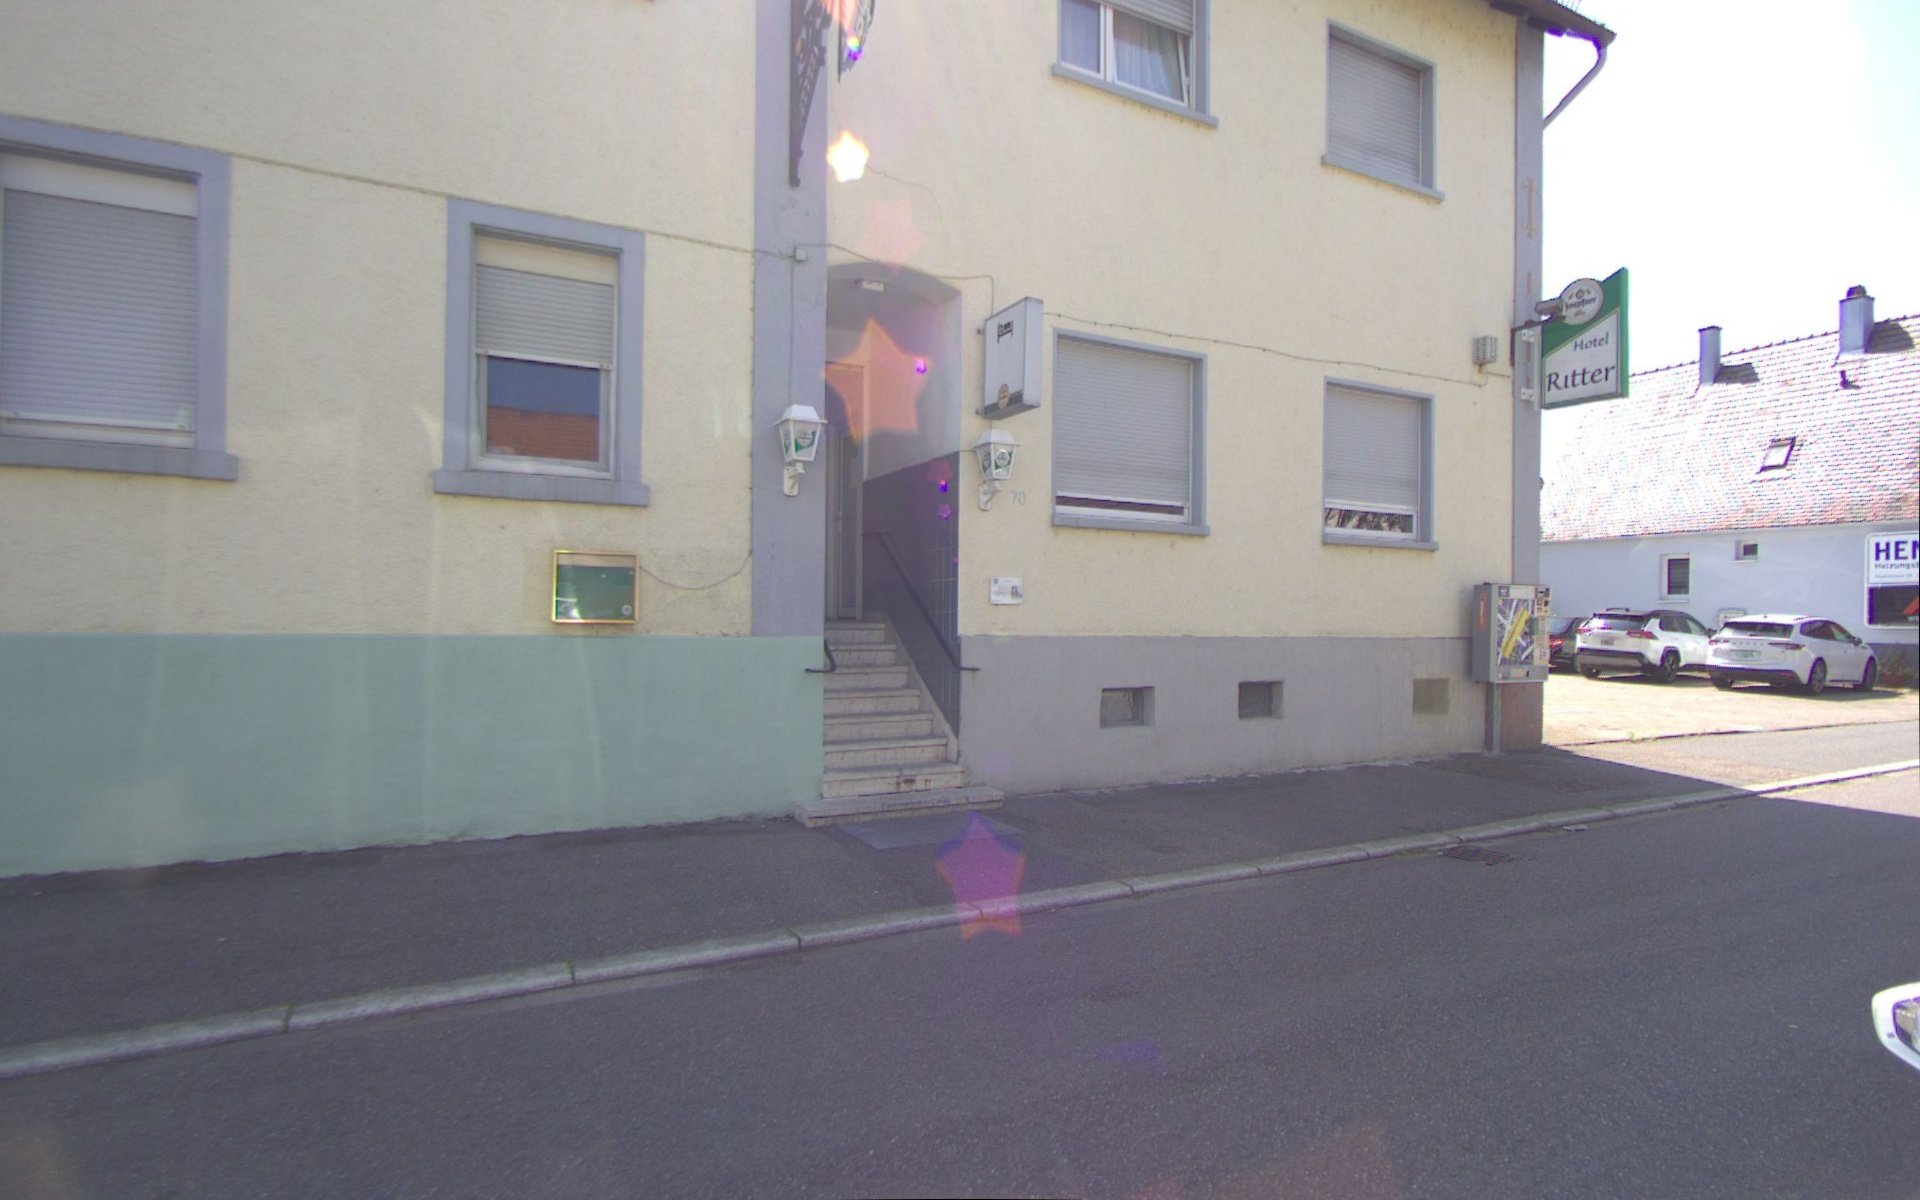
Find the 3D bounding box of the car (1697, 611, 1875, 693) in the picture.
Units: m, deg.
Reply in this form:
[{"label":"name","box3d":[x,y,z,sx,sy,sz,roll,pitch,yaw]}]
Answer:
[{"label":"car","box3d":[18.027,1.092,21.891,4.151,1.577,1.710,1,1,-32]}]

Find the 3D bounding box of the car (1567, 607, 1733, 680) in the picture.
[{"label":"car","box3d":[16.574,1.020,24.080,4.151,1.577,1.710,1,1,-32]}]

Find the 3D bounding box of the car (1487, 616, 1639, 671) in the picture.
[{"label":"car","box3d":[15.946,1.122,26.530,4.151,1.298,1.710,1,1,-32]}]

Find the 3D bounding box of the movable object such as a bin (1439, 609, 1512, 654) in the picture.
[{"label":"movable object such as a bin","box3d":[16.002,0.973,31.196,1.544,1.342,1.368,1,0,-28]}]
